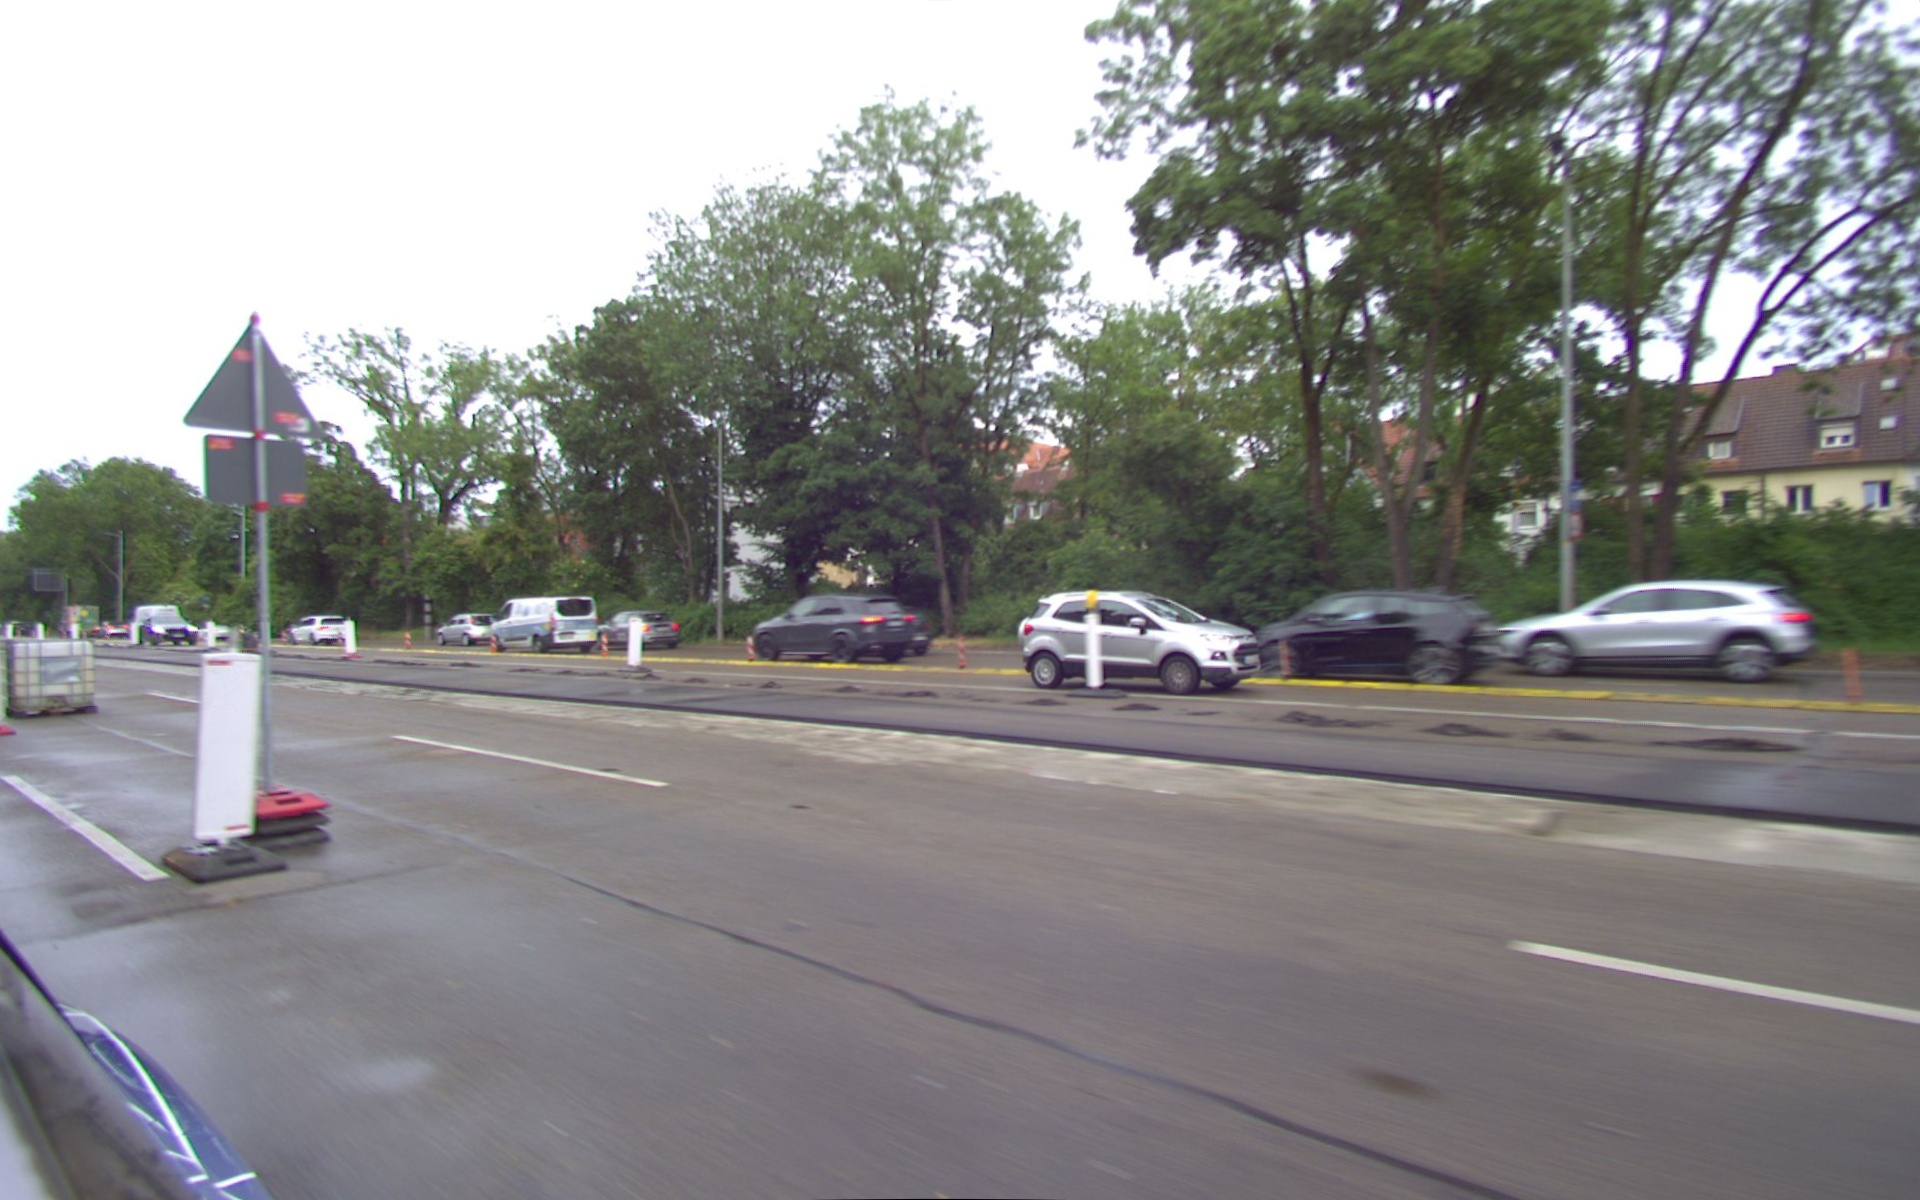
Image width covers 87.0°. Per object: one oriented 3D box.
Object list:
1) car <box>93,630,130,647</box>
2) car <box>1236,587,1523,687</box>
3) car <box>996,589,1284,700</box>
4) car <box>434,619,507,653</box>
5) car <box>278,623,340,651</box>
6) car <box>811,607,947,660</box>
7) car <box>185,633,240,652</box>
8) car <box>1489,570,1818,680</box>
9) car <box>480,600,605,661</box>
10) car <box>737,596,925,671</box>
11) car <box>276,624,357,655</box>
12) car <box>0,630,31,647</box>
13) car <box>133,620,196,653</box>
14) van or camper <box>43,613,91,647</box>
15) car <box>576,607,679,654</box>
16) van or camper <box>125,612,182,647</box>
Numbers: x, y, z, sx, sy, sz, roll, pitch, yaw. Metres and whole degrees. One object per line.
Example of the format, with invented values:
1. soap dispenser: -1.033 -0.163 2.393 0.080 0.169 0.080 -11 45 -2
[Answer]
1. car: -72.451 3.250 86.386 4.078 1.375 1.698 -1 -2 40
2. car: 7.089 0.591 17.318 4.193 1.499 1.758 -1 0 40
3. car: 2.891 0.684 16.860 4.362 1.576 1.869 -2 0 42
4. car: -22.218 1.613 45.878 3.637 1.411 1.662 -2 0 41
5. car: -37.572 2.114 58.365 4.482 1.487 1.712 -1 -1 39
6. car: -2.404 0.956 29.533 3.998 1.431 1.628 -1 0 41
7. car: -50.901 2.883 68.896 3.987 1.192 1.676 -2 1 32
8. car: 11.623 0.399 17.162 4.415 1.639 1.685 -1 0 40
9. car: -14.865 1.069 35.926 4.896 1.987 1.974 -2 0 38
10. car: -3.427 0.846 26.319 5.009 1.738 2.001 -2 0 41
11. car: -31.760 1.899 49.943 4.386 1.426 1.975 0 -1 37
12. car: -98.133 3.965 104.962 4.802 1.706 1.974 -1 0 39
13. car: -43.707 1.973 55.554 4.811 1.641 1.972 -1 0 43
14. van or camper: -86.734 2.921 98.226 7.444 3.086 2.275 -2 -1 39
15. car: -12.426 1.099 37.755 3.997 1.634 1.809 -1 0 40
16. van or camper: -63.184 2.273 79.214 7.723 2.574 1.974 -1 1 40
